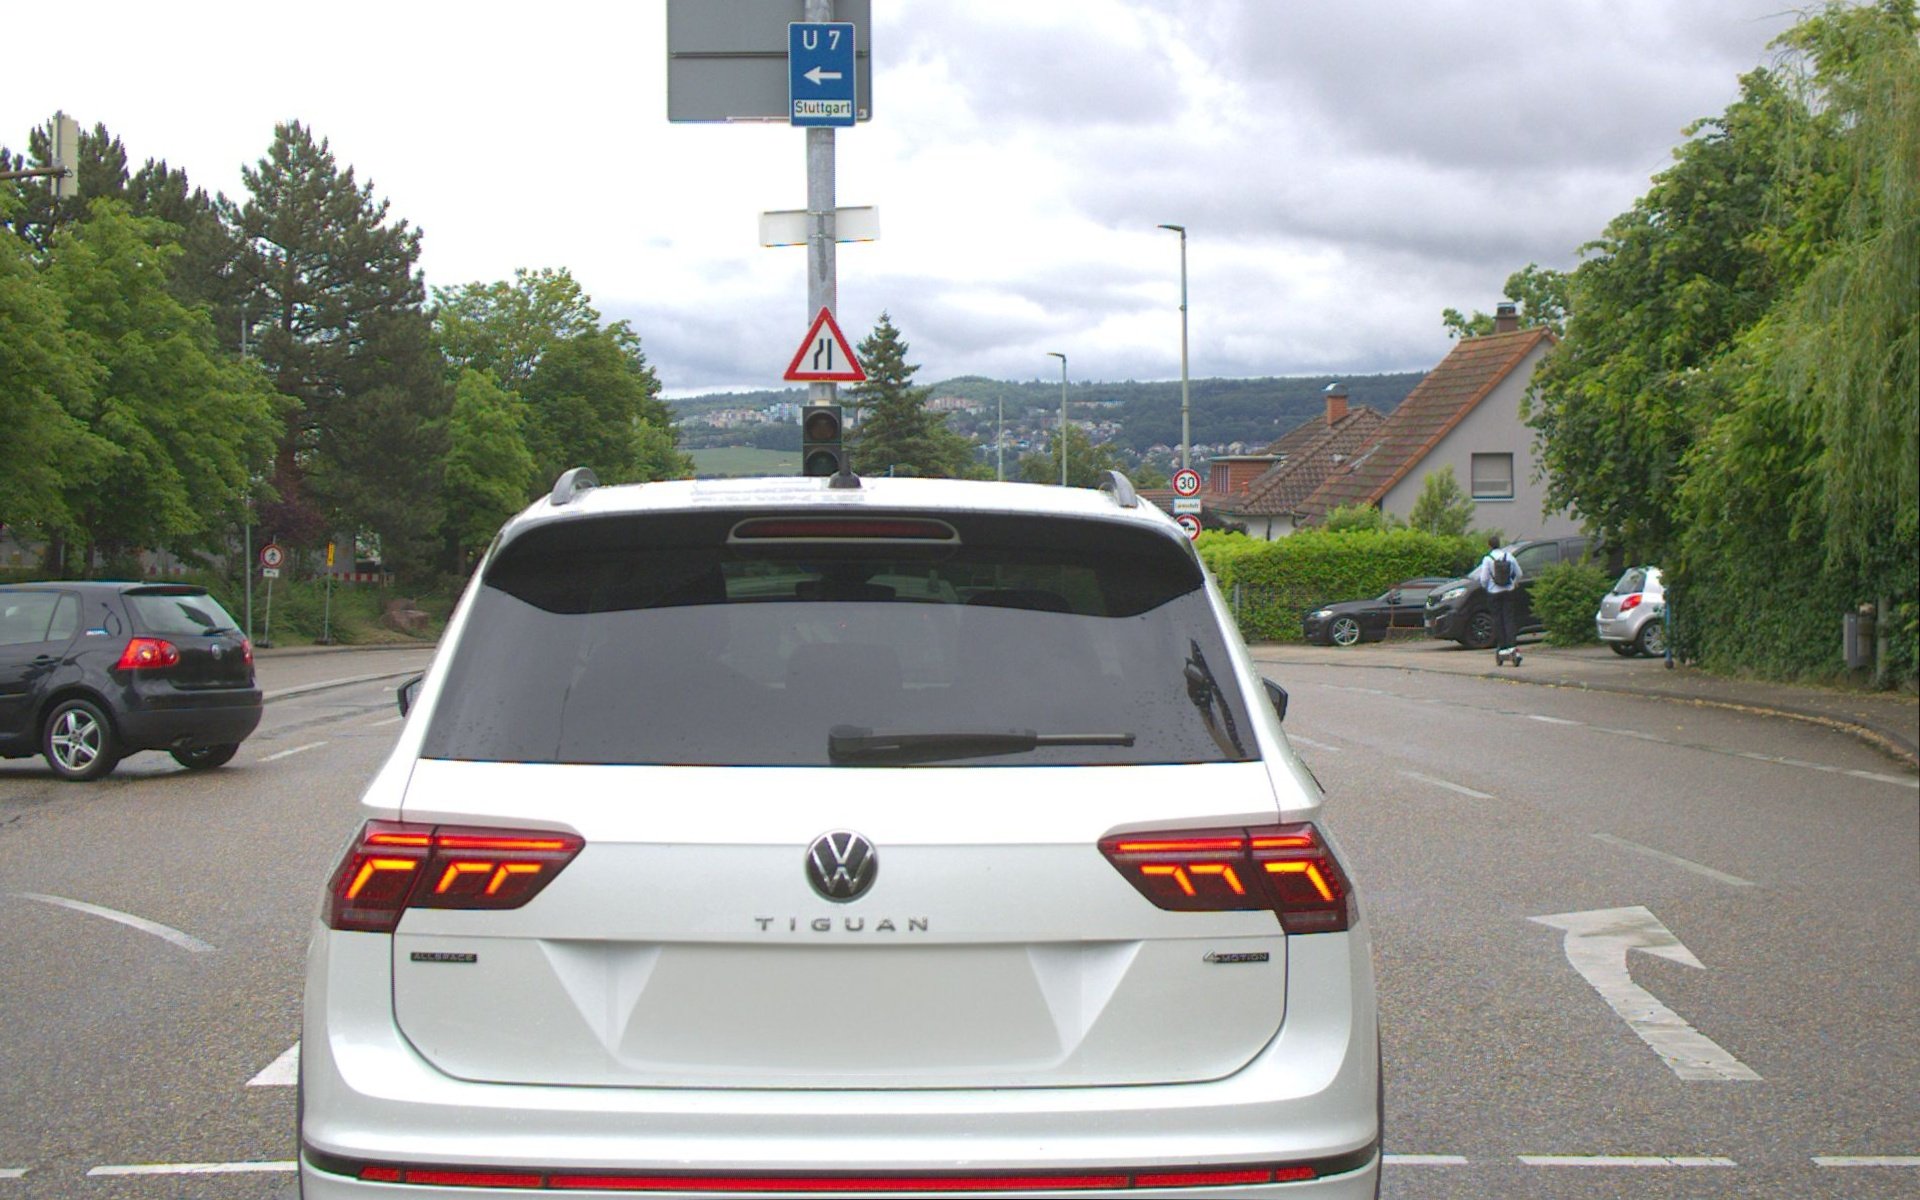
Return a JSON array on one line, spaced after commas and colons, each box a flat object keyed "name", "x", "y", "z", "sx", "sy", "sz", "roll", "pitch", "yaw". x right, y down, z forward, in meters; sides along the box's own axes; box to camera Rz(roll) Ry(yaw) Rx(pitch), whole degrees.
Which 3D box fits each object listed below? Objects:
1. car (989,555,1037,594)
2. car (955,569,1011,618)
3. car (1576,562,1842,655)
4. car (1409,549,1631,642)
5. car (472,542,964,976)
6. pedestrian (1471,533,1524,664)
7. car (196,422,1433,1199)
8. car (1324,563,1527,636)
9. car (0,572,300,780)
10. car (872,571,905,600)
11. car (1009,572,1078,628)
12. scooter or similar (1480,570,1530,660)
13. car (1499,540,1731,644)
[{"name": "car", "x": 2.193, "y": -1.066, "z": 143.181, "sx": 1.850, "sy": 1.569, "sz": 4.000, "roll": -1, "pitch": 1, "yaw": 0}, {"name": "car", "x": 0.759, "y": -0.236, "z": 117.746, "sx": 1.850, "sy": 1.569, "sz": 4.000, "roll": 0, "pitch": 1, "yaw": 0}, {"name": "car", "x": 11.779, "y": 0.138, "z": 54.174, "sx": 3.713, "sy": 1.390, "sz": 1.729, "roll": -1, "pitch": 0, "yaw": -7}, {"name": "car", "x": 10.079, "y": -0.092, "z": 62.050, "sx": 3.627, "sy": 1.621, "sz": 1.791, "roll": 0, "pitch": 0, "yaw": -4}, {"name": "car", "x": -0.890, "y": 0.559, "z": 14.647, "sx": 1.798, "sy": 1.584, "sz": 3.926, "roll": -1, "pitch": 1, "yaw": 0}, {"name": "pedestrian", "x": 8.263, "y": -0.031, "z": 52.887, "sx": 0.655, "sy": 1.995, "sz": 0.718, "roll": 0, "pitch": 1, "yaw": -4}, {"name": "car", "x": -0.274, "y": 0.582, "z": 7.133, "sx": 1.763, "sy": 1.690, "sz": 4.273, "roll": 2, "pitch": 1, "yaw": -2}, {"name": "car", "x": 9.015, "y": -0.005, "z": 66.757, "sx": 3.687, "sy": 1.365, "sz": 1.519, "roll": 0, "pitch": -1, "yaw": -2}, {"name": "car", "x": -7.262, "y": 0.544, "z": 26.377, "sx": 3.991, "sy": 1.474, "sz": 1.764, "roll": 0, "pitch": 1, "yaw": 22}, {"name": "car", "x": -4.150, "y": -0.846, "z": 199.579, "sx": 1.850, "sy": 1.569, "sz": 4.000, "roll": -1, "pitch": 1, "yaw": 0}, {"name": "car", "x": 2.396, "y": 0.007, "z": 99.379, "sx": 1.850, "sy": 1.569, "sz": 4.000, "roll": 1, "pitch": 0, "yaw": 0}, {"name": "scooter or similar", "x": 8.386, "y": 0.220, "z": 52.924, "sx": 0.461, "sy": 1.356, "sz": 1.385, "roll": 0, "pitch": 1, "yaw": -4}, {"name": "car", "x": 11.331, "y": -0.153, "z": 59.603, "sx": 3.627, "sy": 1.740, "sz": 1.708, "roll": -1, "pitch": 1, "yaw": -4}]
